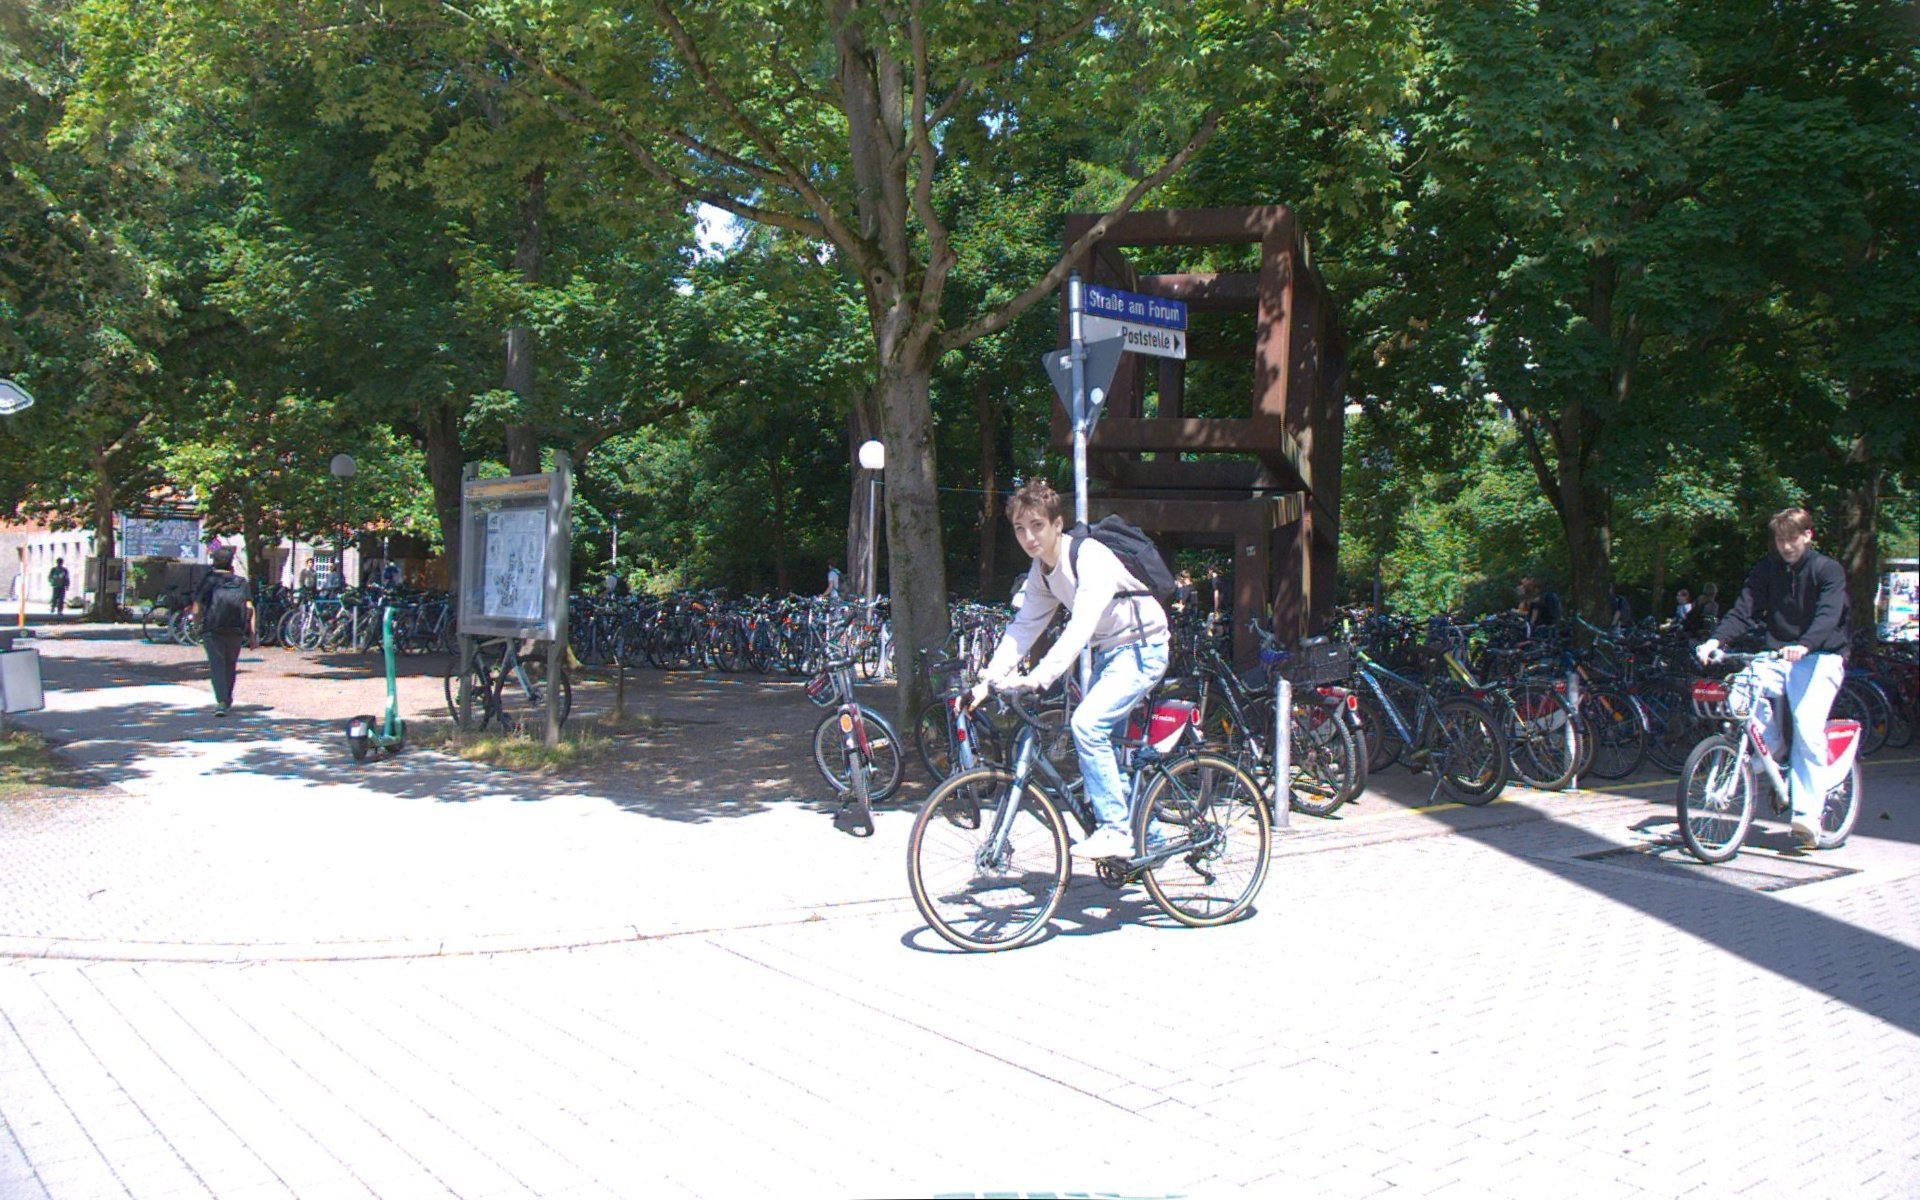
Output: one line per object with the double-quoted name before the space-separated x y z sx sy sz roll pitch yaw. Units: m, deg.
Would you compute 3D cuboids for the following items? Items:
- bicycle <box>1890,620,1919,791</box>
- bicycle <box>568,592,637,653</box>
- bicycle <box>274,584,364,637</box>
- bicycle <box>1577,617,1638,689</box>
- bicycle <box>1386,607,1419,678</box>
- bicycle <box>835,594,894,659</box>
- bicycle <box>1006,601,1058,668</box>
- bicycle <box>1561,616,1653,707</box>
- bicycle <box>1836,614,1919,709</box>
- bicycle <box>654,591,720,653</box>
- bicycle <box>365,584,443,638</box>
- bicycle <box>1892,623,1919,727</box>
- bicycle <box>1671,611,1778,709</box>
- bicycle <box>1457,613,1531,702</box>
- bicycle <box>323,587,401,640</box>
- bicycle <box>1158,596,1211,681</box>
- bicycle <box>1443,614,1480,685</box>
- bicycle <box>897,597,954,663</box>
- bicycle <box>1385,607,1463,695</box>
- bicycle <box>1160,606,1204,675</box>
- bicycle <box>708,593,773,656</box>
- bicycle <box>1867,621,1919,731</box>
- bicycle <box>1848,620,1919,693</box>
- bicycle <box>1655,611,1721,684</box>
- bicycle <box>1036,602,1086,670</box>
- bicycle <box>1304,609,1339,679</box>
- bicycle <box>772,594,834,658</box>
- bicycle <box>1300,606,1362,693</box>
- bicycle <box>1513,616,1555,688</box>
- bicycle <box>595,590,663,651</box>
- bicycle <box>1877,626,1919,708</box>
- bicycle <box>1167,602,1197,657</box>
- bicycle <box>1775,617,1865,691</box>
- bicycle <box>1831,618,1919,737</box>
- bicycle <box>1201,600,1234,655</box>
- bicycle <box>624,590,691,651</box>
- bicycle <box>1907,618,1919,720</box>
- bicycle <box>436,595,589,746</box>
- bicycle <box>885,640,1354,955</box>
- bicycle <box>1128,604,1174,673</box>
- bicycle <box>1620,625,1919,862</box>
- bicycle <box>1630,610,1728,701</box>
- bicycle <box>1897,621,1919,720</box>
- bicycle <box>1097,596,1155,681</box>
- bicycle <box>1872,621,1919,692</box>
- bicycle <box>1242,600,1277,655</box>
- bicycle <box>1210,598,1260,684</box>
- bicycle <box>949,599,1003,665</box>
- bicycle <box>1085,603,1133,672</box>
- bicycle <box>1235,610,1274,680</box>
"bicycle" 7.670 0.788 11.914 1.860 1.192 0.798 2 1 -30
"bicycle" -6.797 0.413 31.532 0.462 1.102 1.860 3 0 14
"bicycle" -13.970 0.238 36.088 0.464 1.102 1.852 3 0 35
"bicycle" 10.601 0.855 27.122 0.462 1.102 1.701 3 0 7
"bicycle" 7.206 0.674 26.970 0.462 1.102 1.701 3 0 14
"bicycle" -1.683 0.456 29.419 0.462 1.102 1.860 3 0 14
"bicycle" 1.251 0.575 28.452 0.462 1.102 1.860 3 0 14
"bicycle" 8.706 0.809 22.303 0.491 1.127 1.699 3 0 -2
"bicycle" 12.960 0.851 22.566 1.669 1.241 0.500 3 0 42
"bicycle" -5.106 0.403 31.000 0.462 1.102 1.860 3 0 14
"bicycle" -11.823 0.232 35.232 0.463 1.102 1.859 3 0 20
"bicycle" 11.050 0.853 17.773 0.492 1.127 1.718 2 0 -37
"bicycle" 10.238 0.783 22.198 0.562 1.220 1.699 3 0 -2
"bicycle" 7.307 0.769 22.698 0.491 1.127 1.700 3 0 2
"bicycle" -12.903 0.292 35.738 0.463 1.102 1.859 3 0 20
"bicycle" 3.192 0.529 23.410 0.490 1.127 1.781 3 0 14
"bicycle" 8.182 0.789 27.031 0.462 1.102 1.701 3 0 14
"bicycle" -0.595 0.514 29.266 0.462 1.102 1.860 3 0 14
"bicycle" 6.365 0.678 22.756 0.616 1.127 1.700 3 0 2
"bicycle" 3.726 0.658 27.653 0.462 1.102 1.860 3 0 14
"bicycle" -3.997 0.437 30.261 0.462 1.102 1.860 3 0 14
"bicycle" 10.397 0.824 17.206 0.564 1.127 1.732 3 0 -18
"bicycle" 15.007 0.894 26.574 0.463 1.102 1.699 3 0 -2
"bicycle" 11.777 0.755 26.809 0.462 1.102 1.701 3 0 7
"bicycle" 1.737 0.596 28.277 0.462 1.102 1.860 3 0 14
"bicycle" 6.078 0.718 27.765 0.462 1.102 1.701 3 0 14
"bicycle" -2.812 0.455 29.781 0.462 1.102 1.860 3 0 14
"bicycle" 5.126 0.665 22.907 0.491 1.127 1.700 3 0 2
"bicycle" 9.373 0.827 27.039 0.462 1.102 1.701 3 0 14
"bicycle" -6.246 0.373 31.307 0.462 1.102 1.860 3 0 14
"bicycle" 13.835 0.970 23.138 1.669 1.127 0.500 3 0 42
"bicycle" 4.791 0.619 35.744 0.505 1.129 1.779 3 0 4
"bicycle" 13.861 0.854 26.700 0.463 1.102 1.699 3 0 -2
"bicycle" 9.809 0.801 16.912 0.489 1.163 1.618 3 0 -23
"bicycle" 5.545 0.577 35.707 0.505 1.129 1.779 3 0 4
"bicycle" -5.696 0.384 31.267 0.462 1.102 1.860 3 0 14
"bicycle" 11.479 0.815 18.226 0.493 1.146 1.714 2 0 -42
"bicycle" -3.778 0.562 13.884 0.390 1.127 1.810 2 0 -43
"bicycle" 0.635 0.751 6.720 1.783 1.127 0.638 0 2 -15
"bicycle" 3.234 0.639 27.925 0.462 1.102 1.860 3 0 14
"bicycle" 4.588 0.769 9.033 1.855 1.160 0.670 3 1 -23
"bicycle" 9.634 0.728 22.213 0.491 1.127 1.699 3 0 -2
"bicycle" 11.741 0.848 18.947 1.702 1.127 0.496 3 0 29
"bicycle" 2.356 0.524 23.299 0.490 1.127 1.908 3 0 14
"bicycle" 15.469 0.923 26.686 0.463 1.102 1.699 3 0 -2
"bicycle" 6.455 0.577 35.718 0.505 1.129 1.779 3 0 4
"bicycle" 3.869 0.554 23.207 0.490 1.127 1.781 3 0 14
"bicycle" 0.299 0.543 28.883 0.462 1.102 1.860 3 0 14
"bicycle" 2.532 0.617 27.977 0.462 1.102 1.860 3 0 14
"bicycle" 4.925 0.735 27.611 0.462 1.102 1.701 3 0 14
